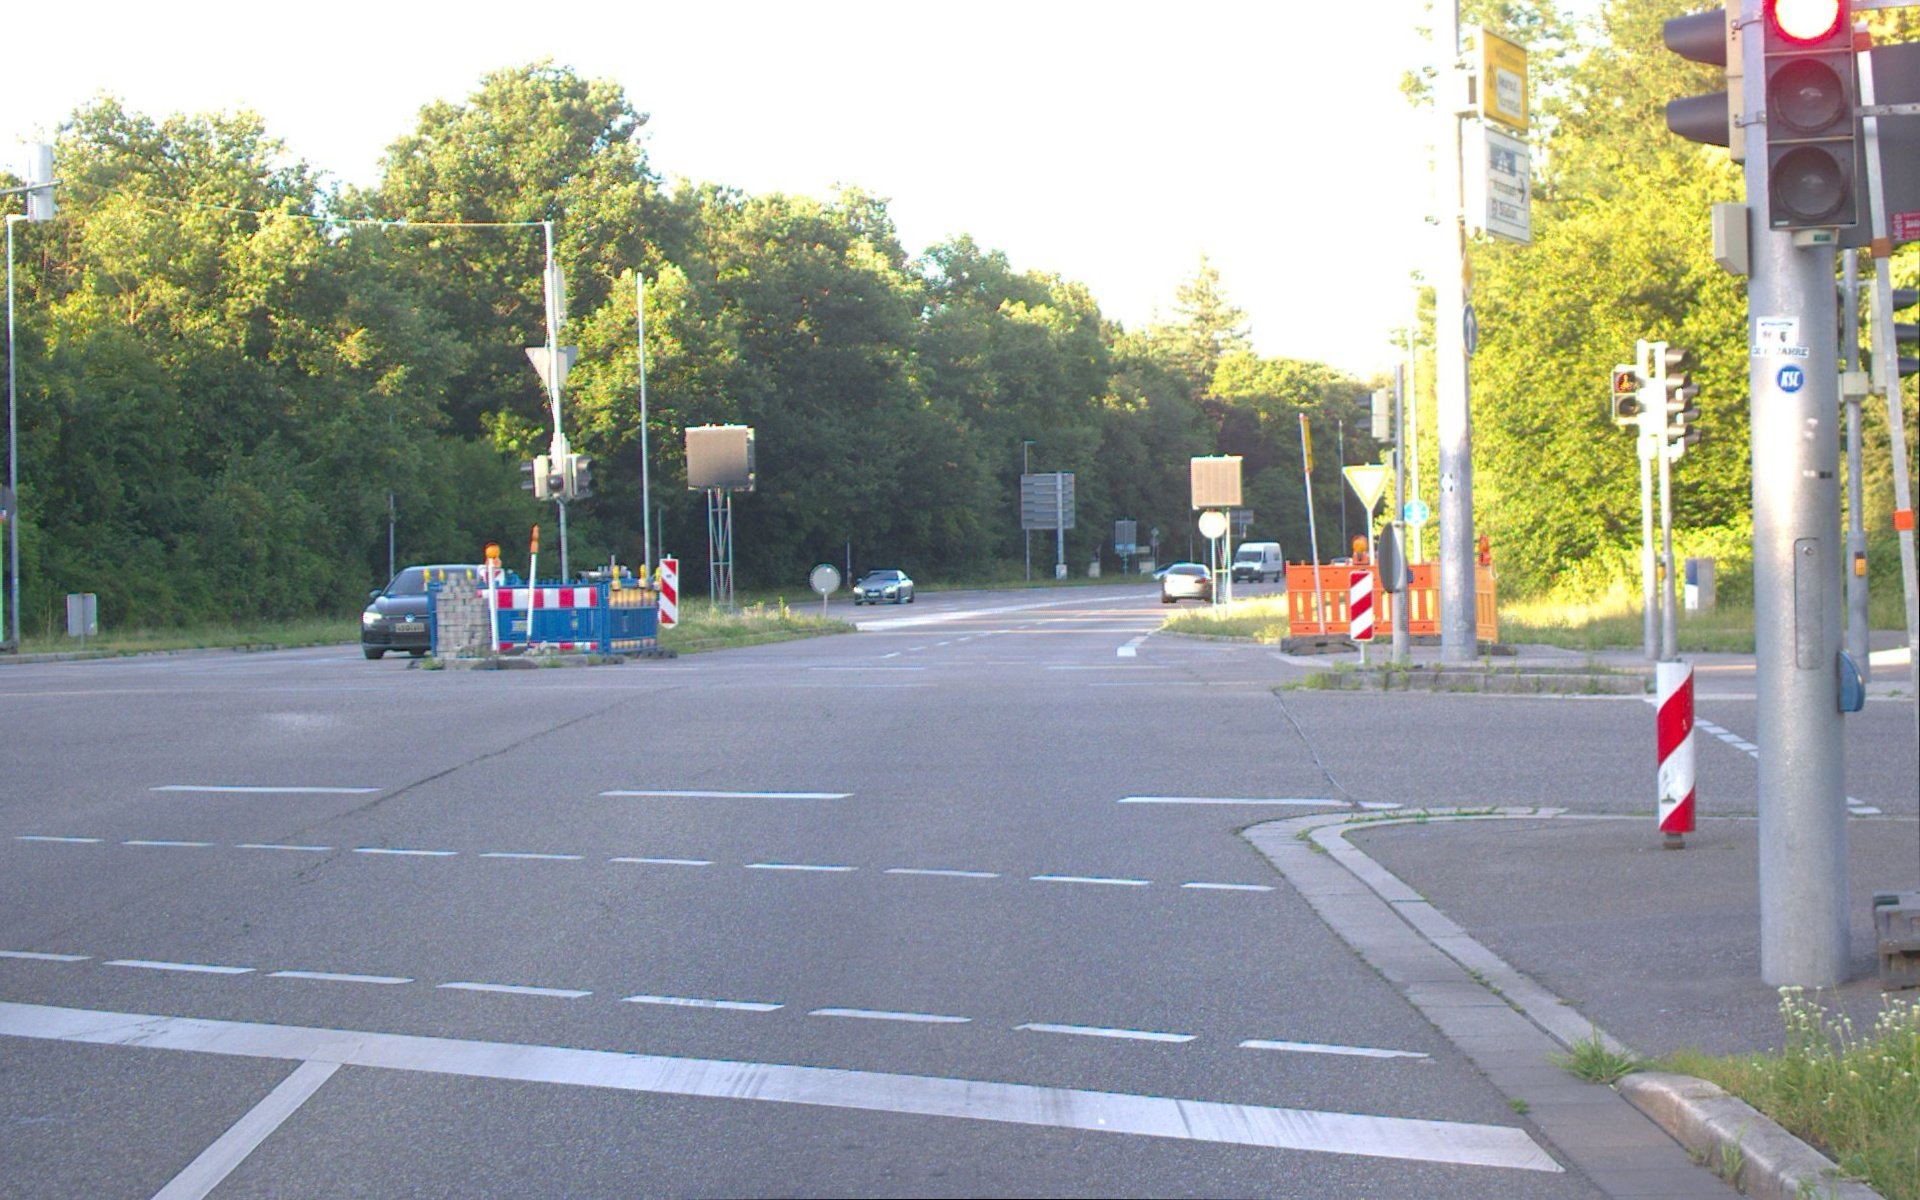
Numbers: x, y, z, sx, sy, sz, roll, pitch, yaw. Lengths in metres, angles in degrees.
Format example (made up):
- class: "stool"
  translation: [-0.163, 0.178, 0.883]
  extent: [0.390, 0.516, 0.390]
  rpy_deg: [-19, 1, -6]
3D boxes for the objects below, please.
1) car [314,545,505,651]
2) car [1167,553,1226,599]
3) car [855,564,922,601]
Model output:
- class: "car"
  translation: [-8.522, -0.065, 53.610]
  extent: [1.994, 1.524, 4.678]
  rpy_deg: [-1, 1, 3]
- class: "car"
  translation: [8.896, -0.909, 129.049]
  extent: [1.994, 1.612, 3.999]
  rpy_deg: [-1, 1, 7]
- class: "car"
  translation: [-2.900, -0.710, 140.256]
  extent: [1.994, 1.415, 3.999]
  rpy_deg: [-1, 1, 10]
